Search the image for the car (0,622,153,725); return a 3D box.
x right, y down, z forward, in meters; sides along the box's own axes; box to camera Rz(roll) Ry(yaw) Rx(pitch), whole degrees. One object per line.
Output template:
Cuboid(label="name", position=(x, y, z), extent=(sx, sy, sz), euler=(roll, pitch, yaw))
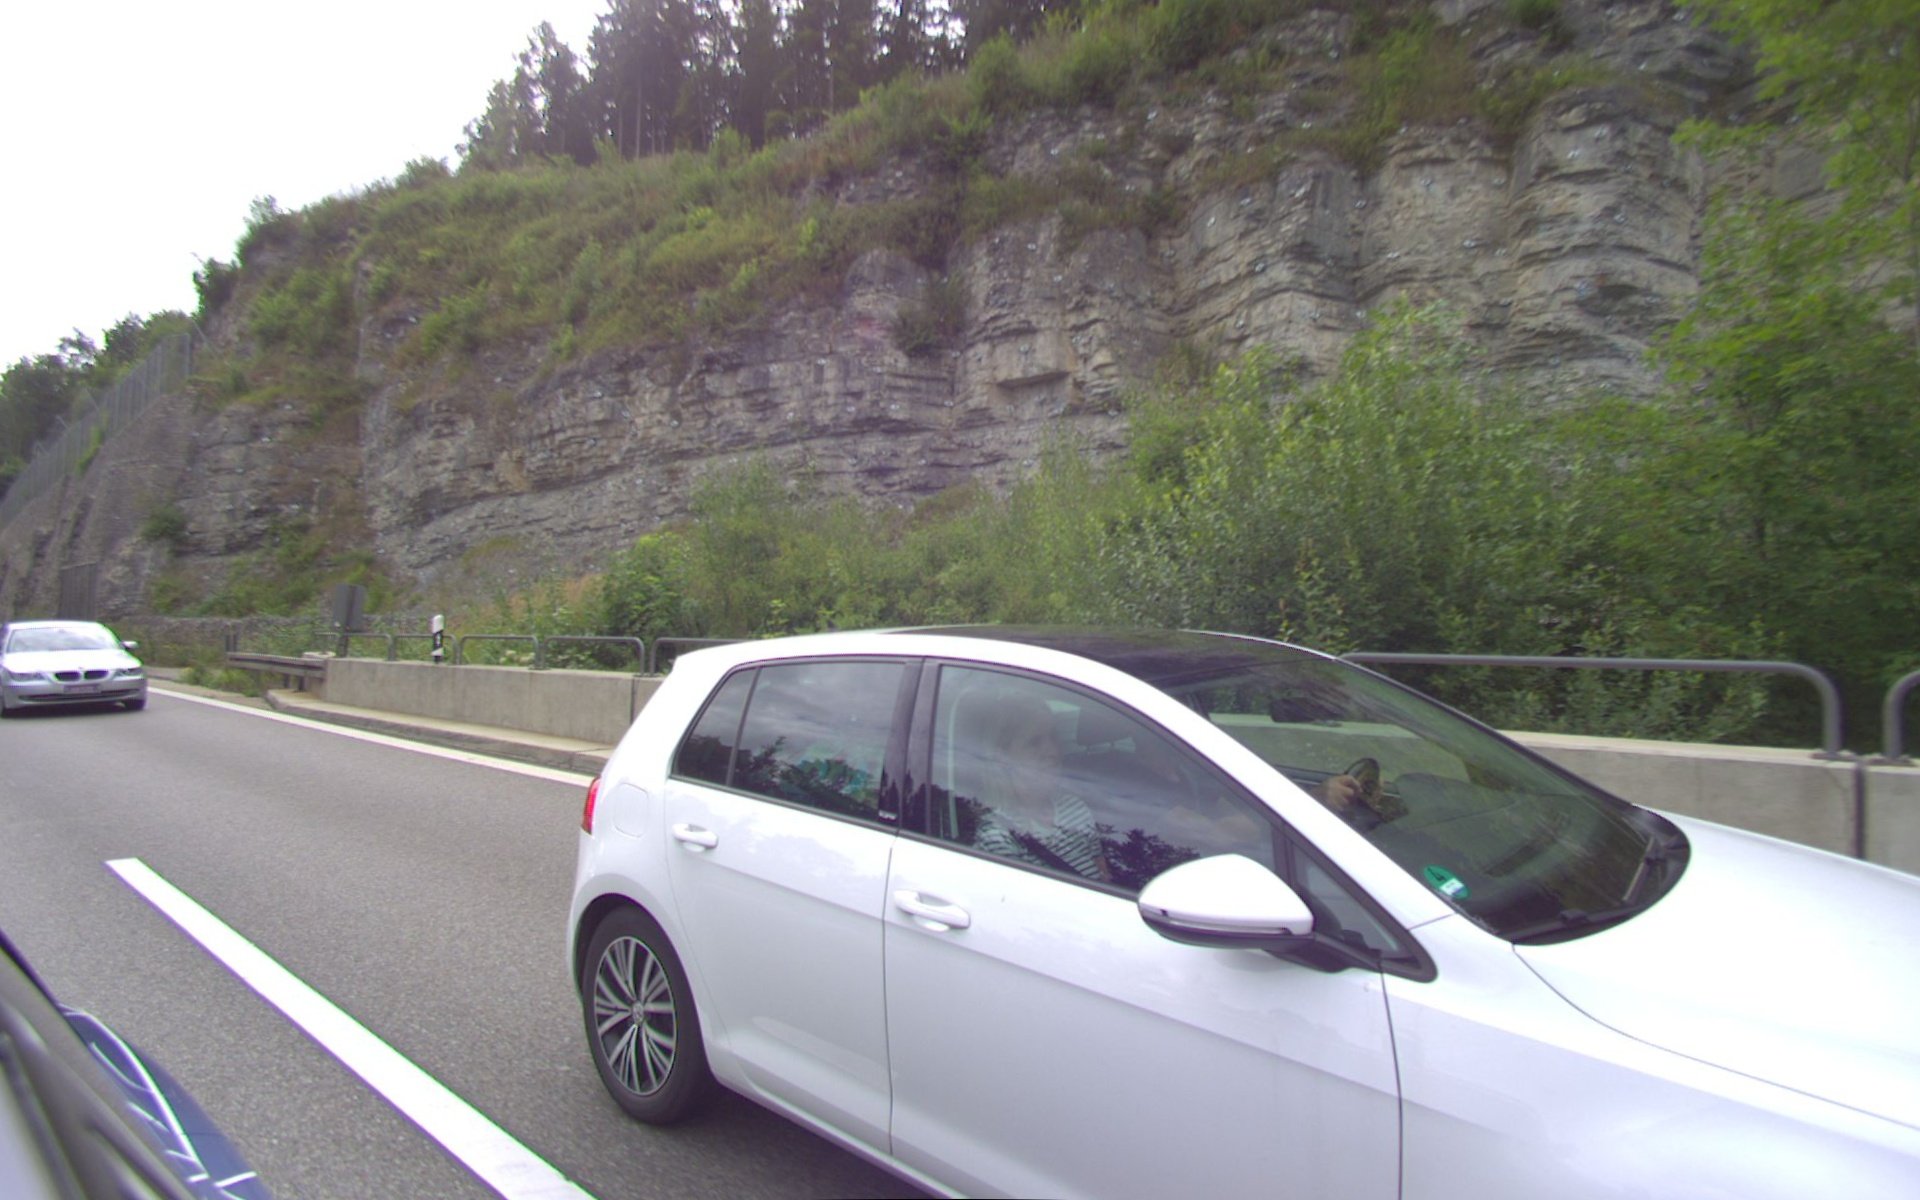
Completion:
Cuboid(label="car", position=(-15.316, 1.137, 17.070), extent=(5.133, 1.468, 1.809), euler=(-2, -1, 41))

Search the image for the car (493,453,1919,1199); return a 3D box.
Cuboid(label="car", position=(0.792, 0.674, 2.517), extent=(4.625, 1.493, 1.825), euler=(-4, -5, 41))
